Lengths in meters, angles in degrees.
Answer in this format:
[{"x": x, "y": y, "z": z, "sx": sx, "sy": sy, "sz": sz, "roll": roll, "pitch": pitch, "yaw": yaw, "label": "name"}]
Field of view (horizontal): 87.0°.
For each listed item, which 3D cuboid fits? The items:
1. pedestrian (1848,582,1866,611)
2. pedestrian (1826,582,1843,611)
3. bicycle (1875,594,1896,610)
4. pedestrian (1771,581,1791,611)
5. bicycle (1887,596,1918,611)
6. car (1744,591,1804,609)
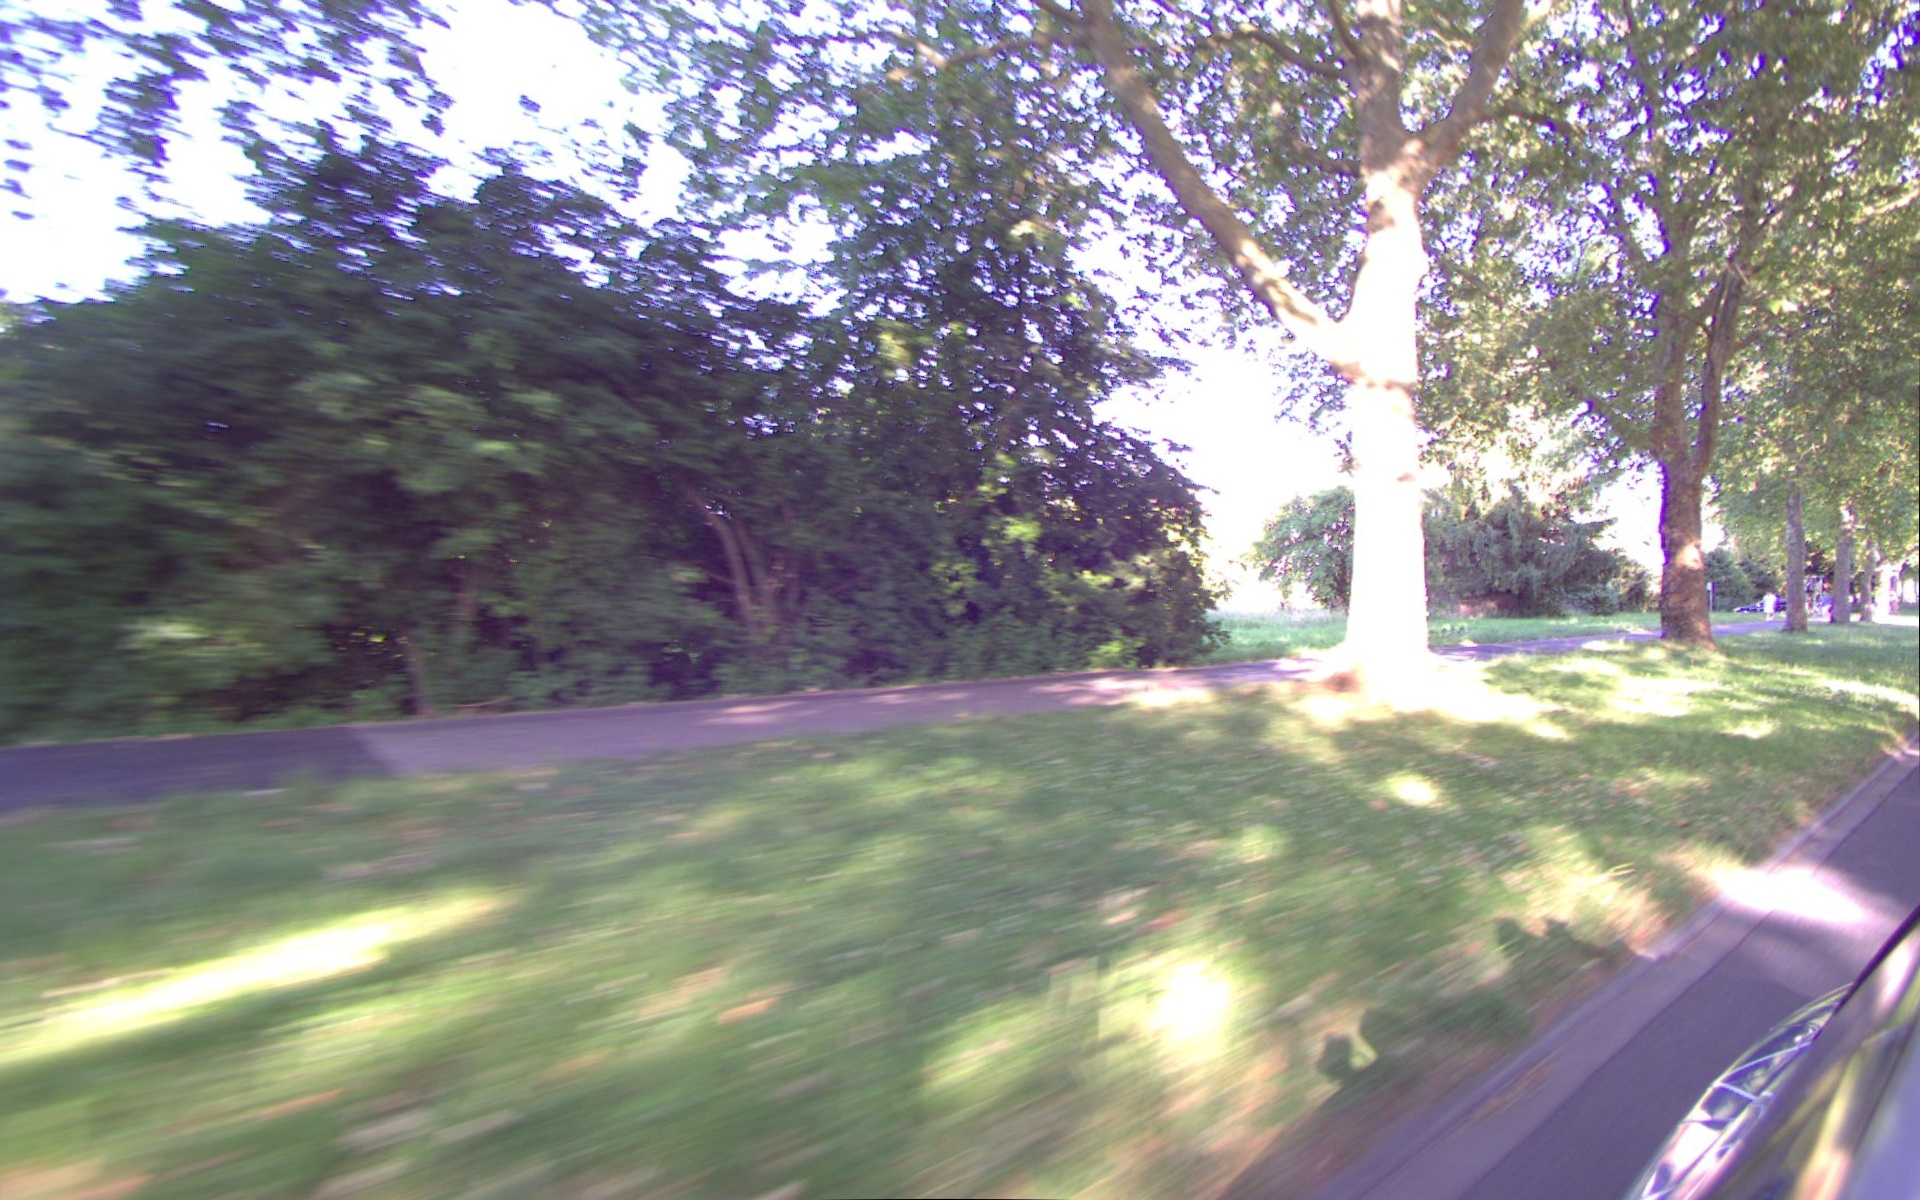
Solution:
[{"x": 58.103, "y": -0.218, "z": 65.564, "sx": 0.774, "sy": 1.869, "sz": 0.762, "roll": 0, "pitch": 0, "yaw": -42, "label": "pedestrian"}, {"x": 57.336, "y": -0.233, "z": 66.347, "sx": 0.788, "sy": 1.871, "sz": 0.755, "roll": 0, "pitch": 0, "yaw": -42, "label": "pedestrian"}, {"x": 67.414, "y": 0.139, "z": 73.748, "sx": 0.442, "sy": 1.096, "sz": 1.991, "roll": 3, "pitch": 0, "yaw": 23, "label": "bicycle"}, {"x": 45.668, "y": -0.220, "z": 56.297, "sx": 0.780, "sy": 1.670, "sz": 0.924, "roll": 2, "pitch": 1, "yaw": 44, "label": "pedestrian"}, {"x": 68.894, "y": 0.237, "z": 74.008, "sx": 0.437, "sy": 1.048, "sz": 1.723, "roll": 3, "pitch": 0, "yaw": -11, "label": "bicycle"}, {"x": 70.421, "y": -0.026, "z": 87.581, "sx": 4.051, "sy": 1.482, "sz": 1.706, "roll": 2, "pitch": 1, "yaw": 41, "label": "car"}]
